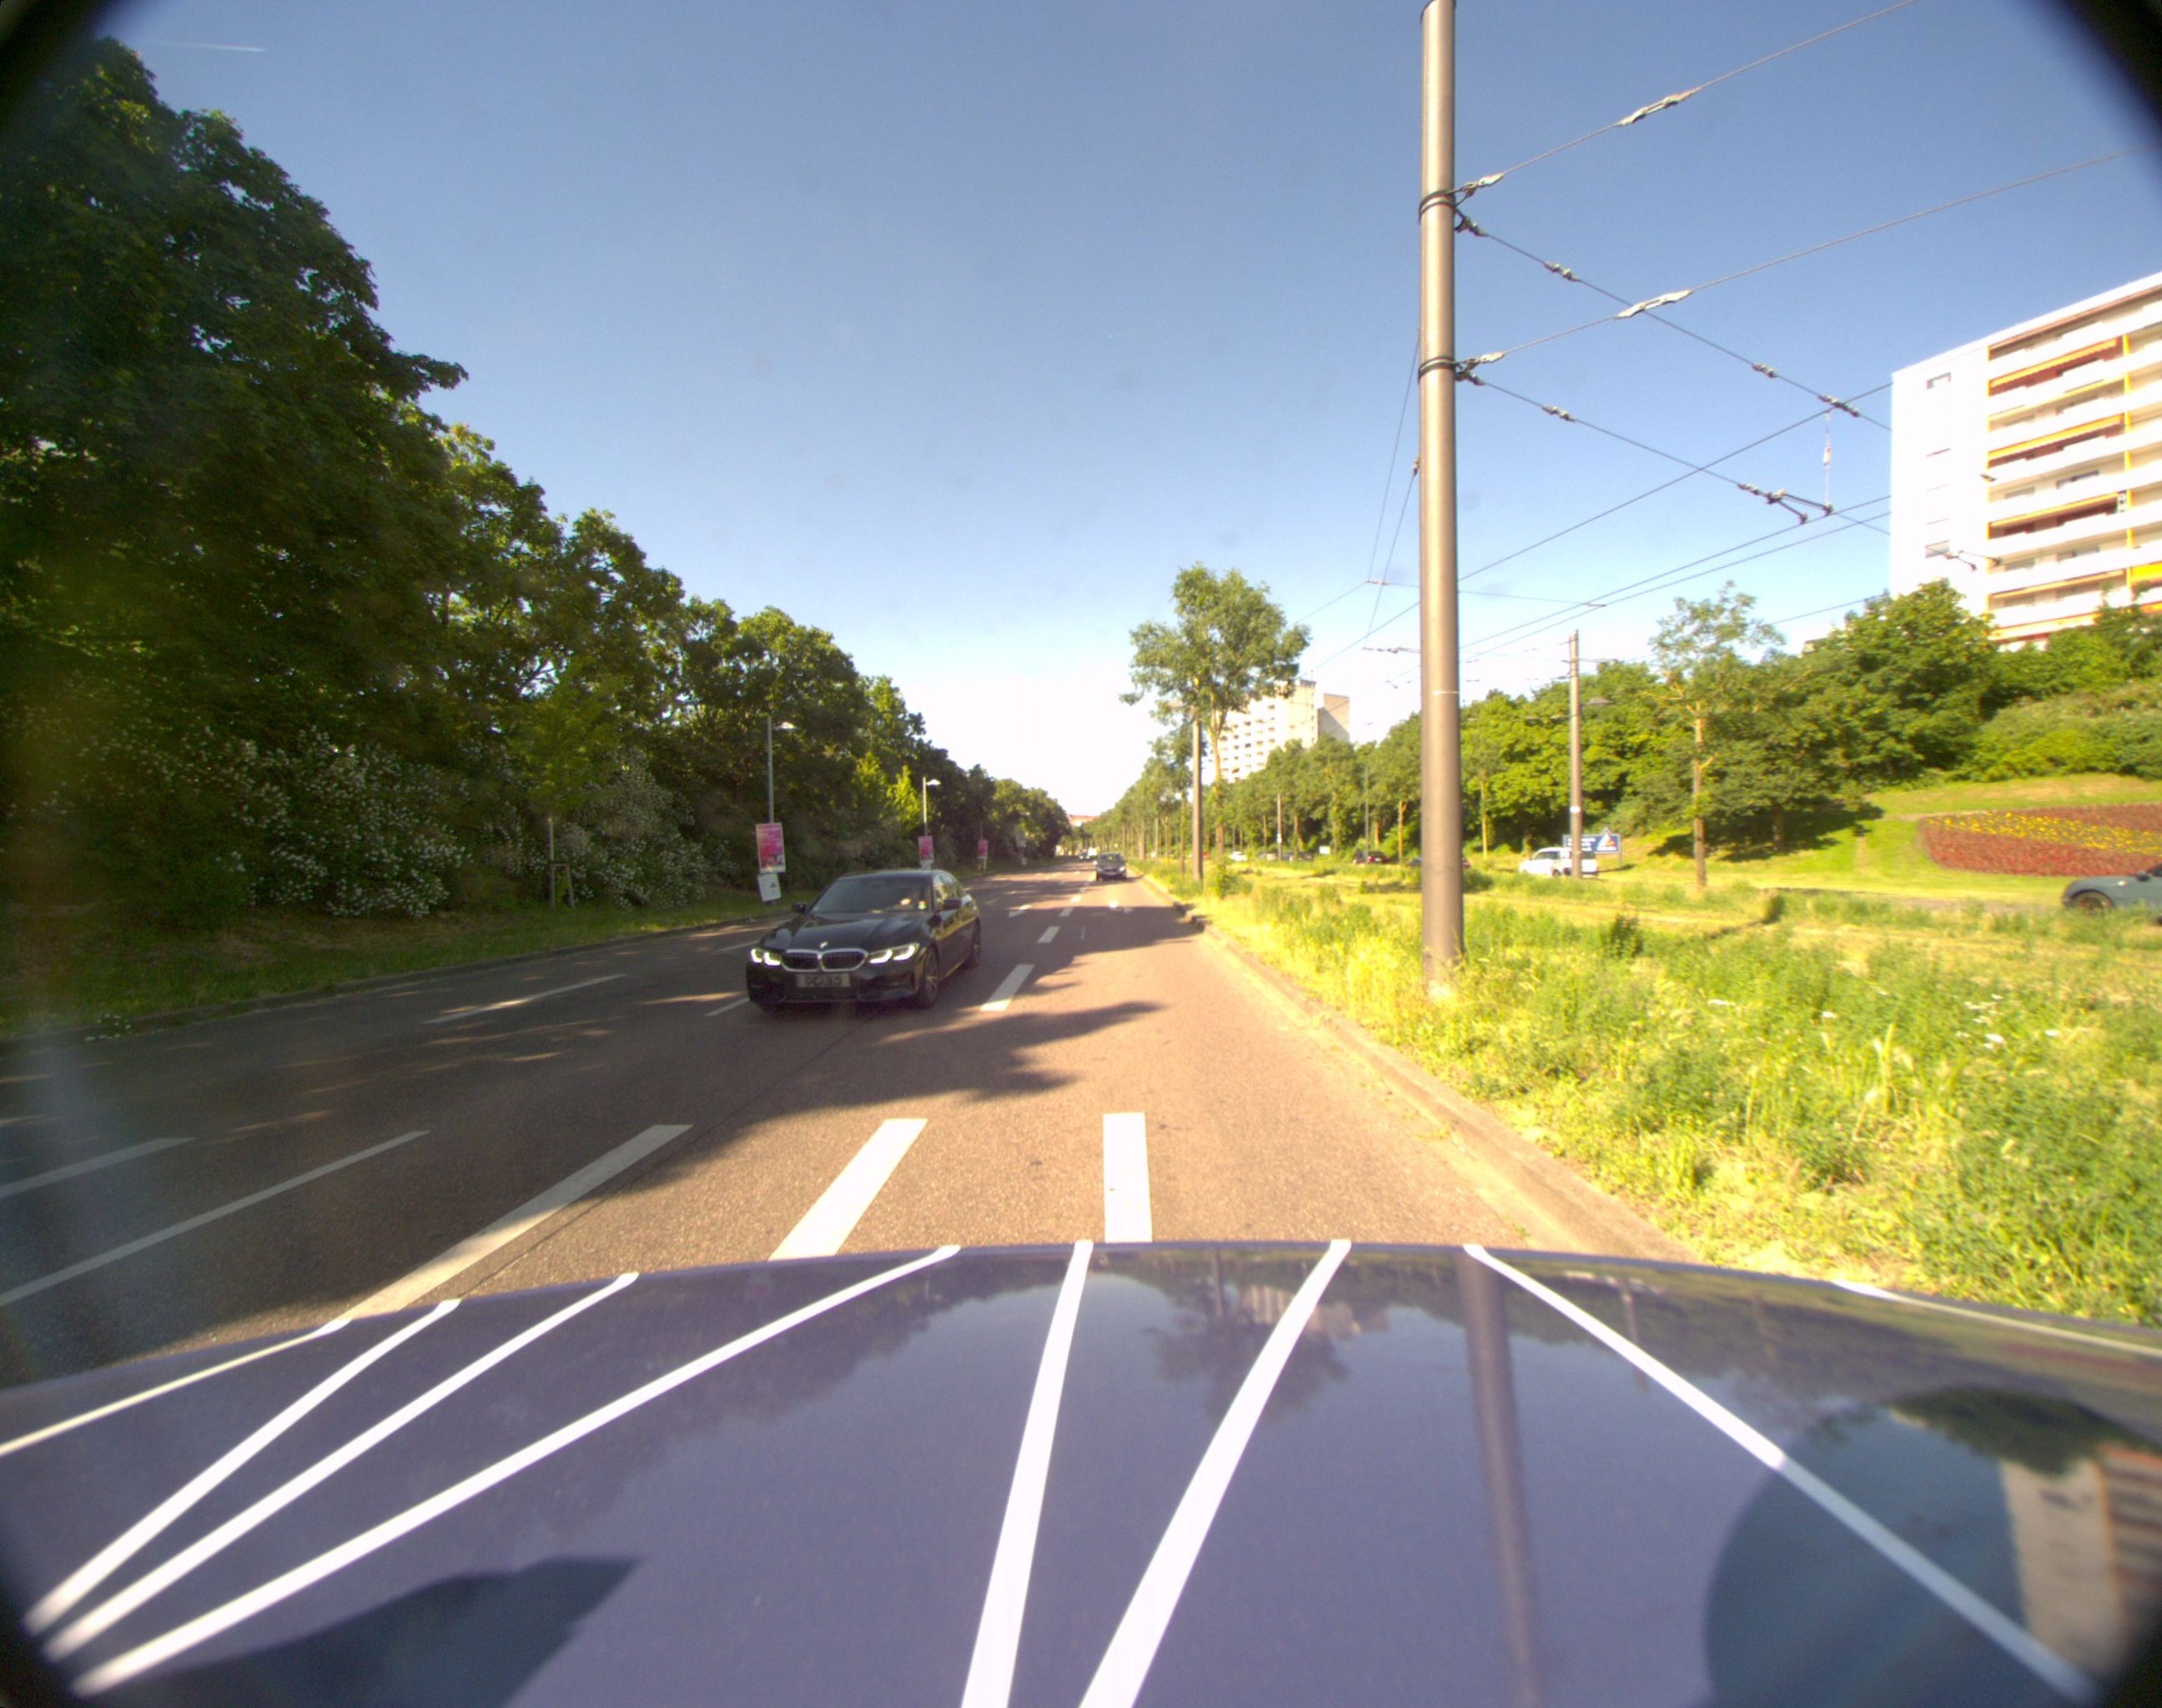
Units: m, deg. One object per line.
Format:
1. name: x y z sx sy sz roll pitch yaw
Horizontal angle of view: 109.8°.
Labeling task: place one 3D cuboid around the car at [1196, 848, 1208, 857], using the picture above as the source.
1. car: 19.488 -0.232 122.463 1.592 1.464 4.183 -1 0 3

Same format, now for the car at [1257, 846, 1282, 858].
1. car: 23.332 -0.237 94.098 1.998 1.424 4.693 0 1 2

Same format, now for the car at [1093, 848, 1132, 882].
1. car: 1.665 0.584 41.683 1.998 1.696 3.999 -2 1 1

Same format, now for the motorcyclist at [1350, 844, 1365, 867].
1. motorcyclist: 19.457 0.073 53.419 0.836 1.590 0.640 -2 1 9

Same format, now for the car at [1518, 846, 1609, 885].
1. car: 22.486 0.471 35.590 1.805 1.698 4.060 0 1 2

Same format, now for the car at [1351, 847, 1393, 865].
1. car: 22.684 0.115 59.382 1.866 1.334 4.031 0 1 1

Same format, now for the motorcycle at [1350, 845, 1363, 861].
1. motorcycle: 19.406 -0.072 53.538 0.422 1.125 2.096 -2 1 9

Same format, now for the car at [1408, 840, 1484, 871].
1. car: 19.341 0.056 40.471 1.880 1.477 4.604 -2 1 1

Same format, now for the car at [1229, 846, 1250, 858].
1. car: 19.852 -0.239 95.223 1.707 1.414 4.643 -1 0 2

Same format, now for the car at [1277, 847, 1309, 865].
1. car: 19.617 0.182 70.545 1.998 1.585 4.465 0 1 4

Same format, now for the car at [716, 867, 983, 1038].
1. car: -2.426 0.956 9.173 1.831 1.401 4.216 -2 1 1

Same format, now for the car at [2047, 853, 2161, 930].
1. car: 21.104 0.727 14.029 1.433 1.380 4.140 -2 1 3

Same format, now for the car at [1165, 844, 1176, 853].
1. car: 17.375 -1.058 147.489 1.767 1.599 3.758 0 1 2

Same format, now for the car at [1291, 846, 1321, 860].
1. car: 23.379 -0.128 78.993 1.998 1.366 4.400 -2 1 3
